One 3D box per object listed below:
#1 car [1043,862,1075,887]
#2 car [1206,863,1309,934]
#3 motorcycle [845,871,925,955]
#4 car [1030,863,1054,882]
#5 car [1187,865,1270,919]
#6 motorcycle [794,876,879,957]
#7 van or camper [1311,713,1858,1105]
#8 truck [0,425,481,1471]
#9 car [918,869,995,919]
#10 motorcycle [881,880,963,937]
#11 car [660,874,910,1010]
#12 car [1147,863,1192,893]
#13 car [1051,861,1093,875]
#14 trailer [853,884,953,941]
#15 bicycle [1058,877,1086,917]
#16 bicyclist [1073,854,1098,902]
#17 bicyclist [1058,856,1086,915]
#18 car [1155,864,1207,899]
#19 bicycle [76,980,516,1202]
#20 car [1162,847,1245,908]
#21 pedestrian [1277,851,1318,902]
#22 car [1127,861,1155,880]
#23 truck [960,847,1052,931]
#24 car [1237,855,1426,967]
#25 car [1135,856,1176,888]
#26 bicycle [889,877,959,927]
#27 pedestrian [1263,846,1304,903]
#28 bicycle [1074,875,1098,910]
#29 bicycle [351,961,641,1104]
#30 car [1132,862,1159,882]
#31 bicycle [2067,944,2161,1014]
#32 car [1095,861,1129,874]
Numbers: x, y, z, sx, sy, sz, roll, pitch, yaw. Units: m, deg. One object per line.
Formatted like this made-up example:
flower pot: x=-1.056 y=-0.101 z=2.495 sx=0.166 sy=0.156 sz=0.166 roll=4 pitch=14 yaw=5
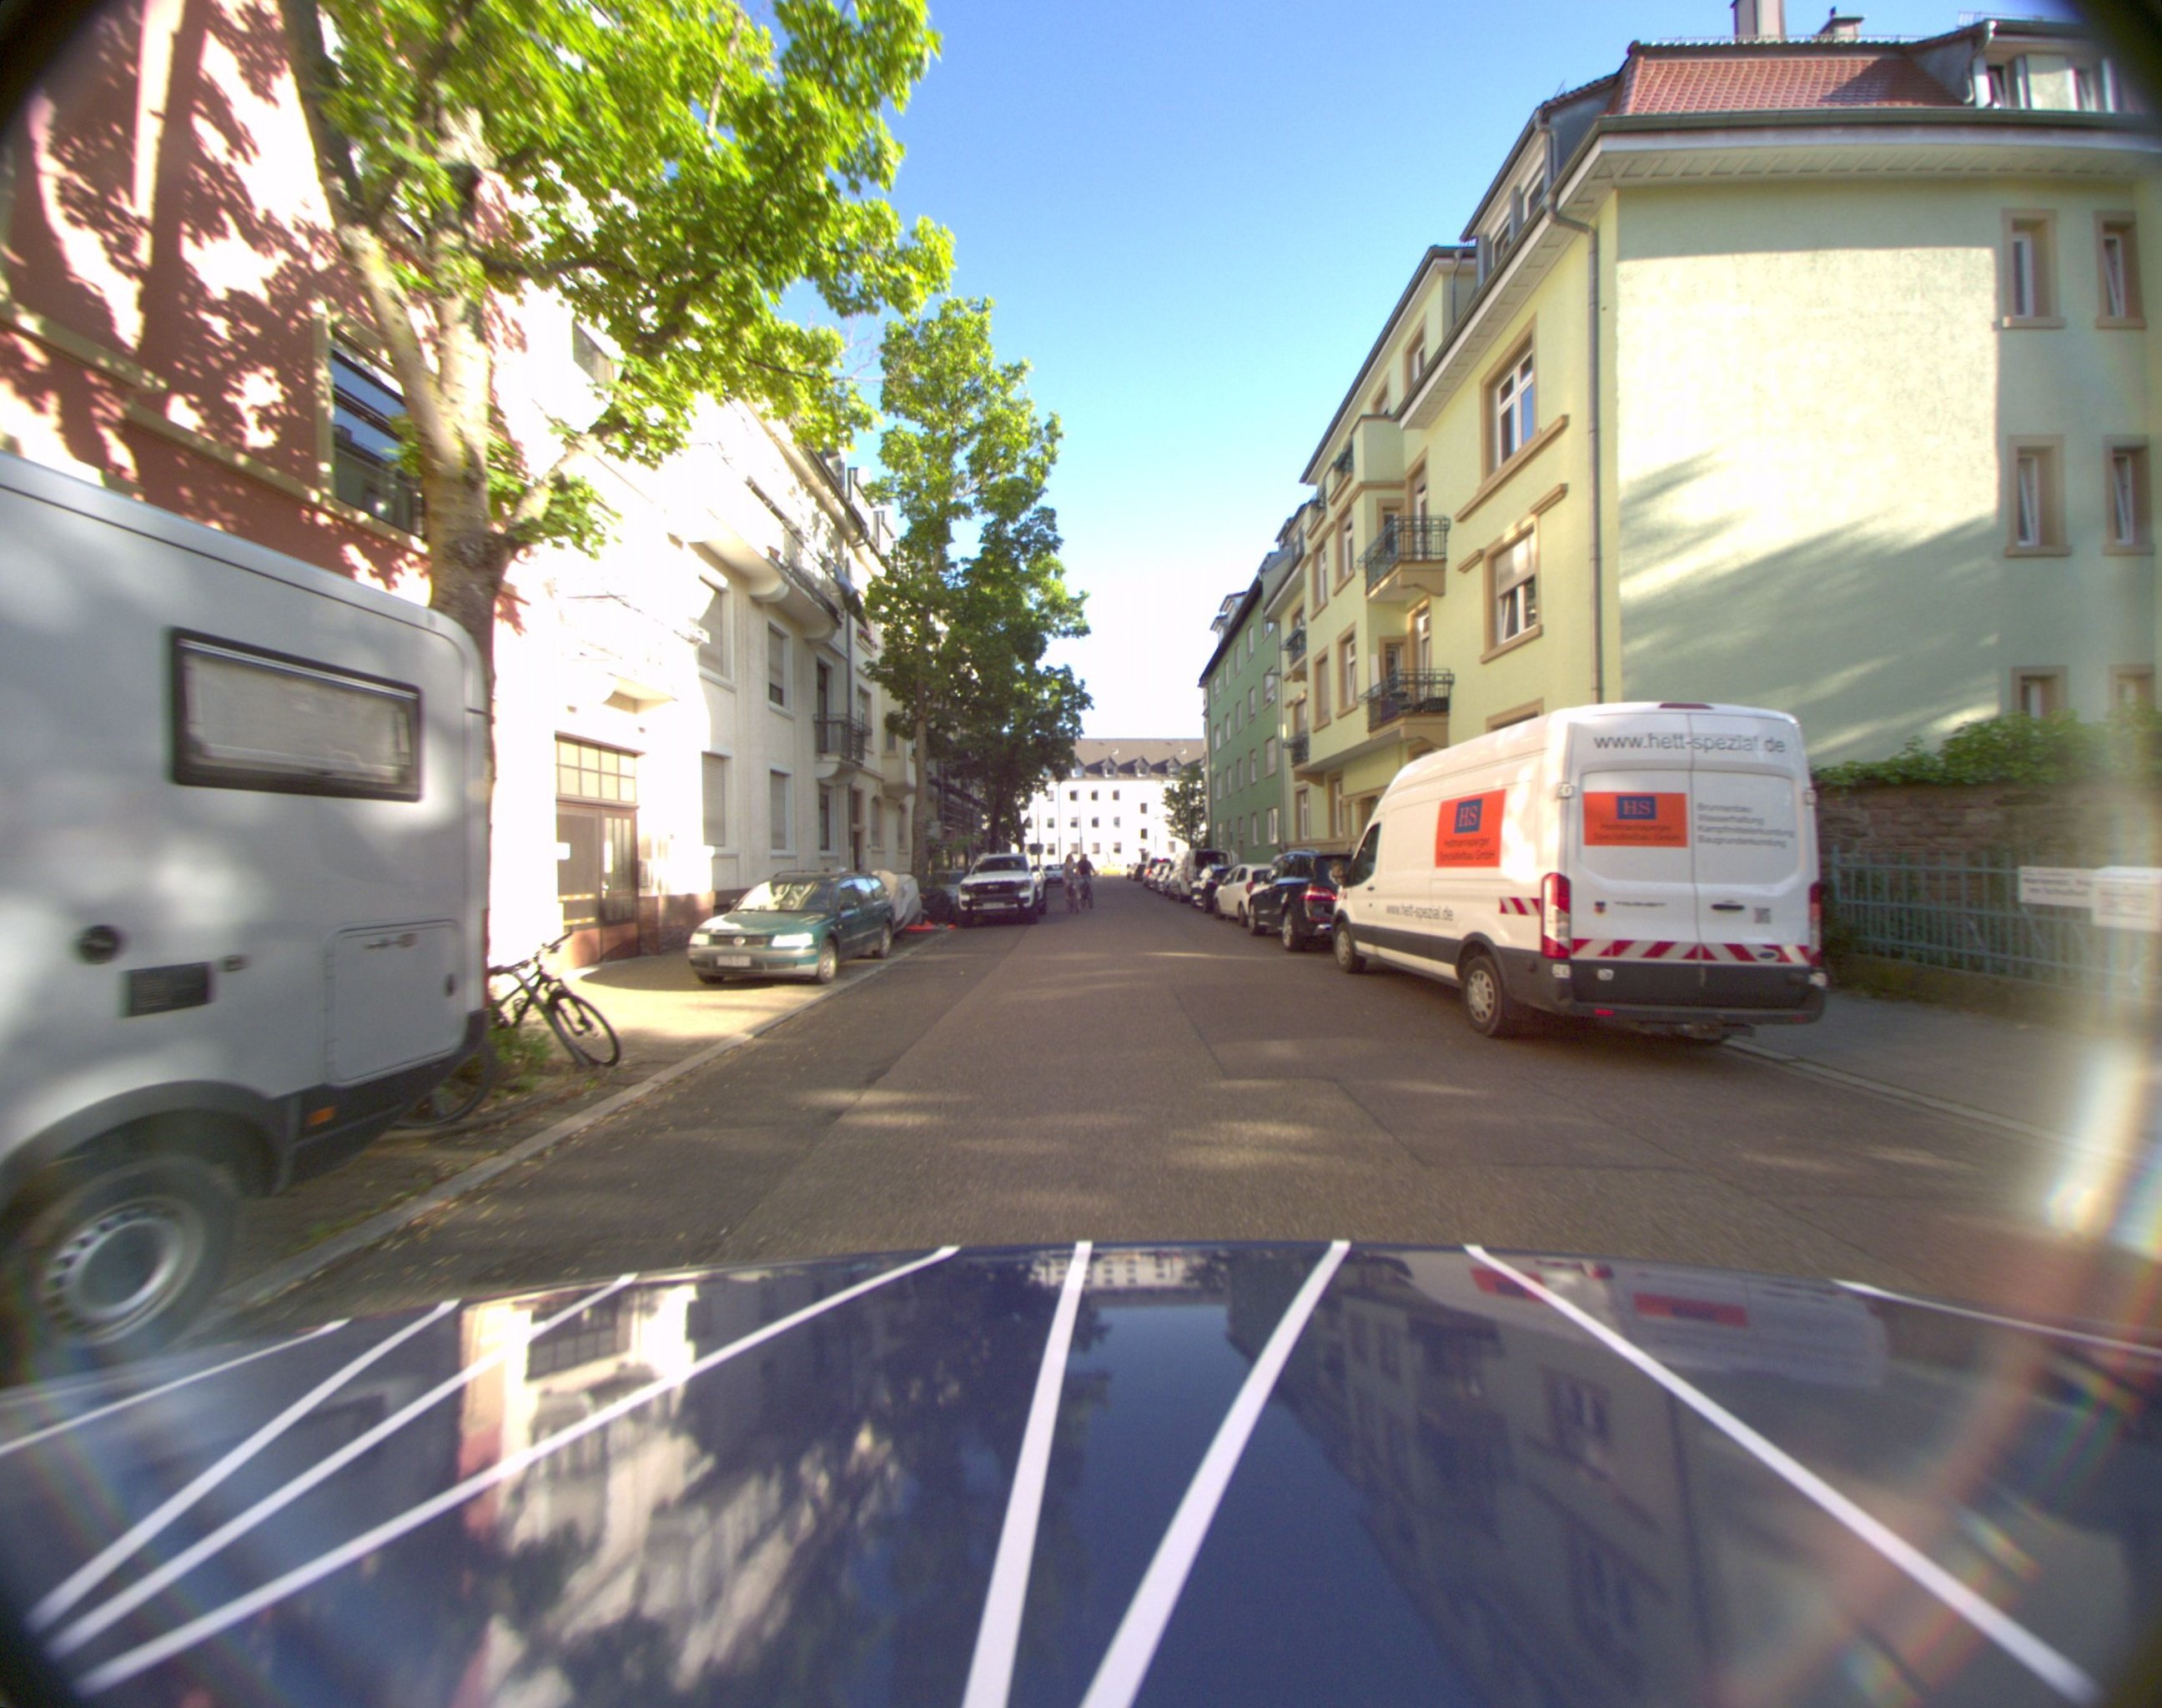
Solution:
car: x=-1.395 y=1.295 z=49.777 sx=1.806 sy=1.526 sz=3.965 roll=-2 pitch=0 yaw=2
car: x=4.317 y=1.029 z=19.175 sx=1.639 sy=1.543 sz=4.088 roll=0 pitch=0 yaw=0
motorcycle: x=-3.834 y=1.114 z=15.067 sx=0.932 sy=1.477 sz=2.138 roll=-2 pitch=0 yaw=2
car: x=-3.203 y=1.508 z=62.953 sx=1.665 sy=1.399 sz=4.507 roll=2 pitch=0 yaw=0
car: x=4.523 y=1.113 z=23.929 sx=1.771 sy=1.512 sz=4.825 roll=0 pitch=0 yaw=1
motorcycle: x=-4.779 y=1.186 z=15.056 sx=0.863 sy=1.407 sz=2.234 roll=-2 pitch=0 yaw=2
van or camper: x=4.461 y=0.409 z=8.329 sx=2.134 sy=2.753 sz=5.852 roll=1 pitch=0 yaw=1
truck: x=-4.083 y=0.244 z=0.744 sx=2.079 sy=2.951 sz=6.109 roll=1 pitch=0 yaw=0
car: x=-3.917 y=1.214 z=24.583 sx=1.684 sy=1.413 sz=4.430 roll=0 pitch=0 yaw=1
motorcycle: x=-3.821 y=1.287 z=18.339 sx=1.768 sy=1.233 sz=0.700 roll=-1 pitch=0 yaw=-38
car: x=-4.090 y=1.118 z=11.496 sx=1.755 sy=1.520 sz=4.782 roll=0 pitch=0 yaw=2
car: x=4.673 y=1.234 z=40.646 sx=1.724 sy=1.453 sz=4.506 roll=1 pitch=0 yaw=-2
car: x=-1.048 y=1.601 z=85.820 sx=4.493 sy=1.498 sz=1.944 roll=-1 pitch=0 yaw=-5
trailer: x=-3.956 y=1.279 z=16.989 sx=2.088 sy=1.105 sz=1.114 roll=-1 pitch=0 yaw=-13
bicycle: x=-0.253 y=1.255 z=22.618 sx=0.707 sy=1.039 sz=1.858 roll=-4 pitch=0 yaw=0
bicyclist: x=0.140 y=0.813 z=25.768 sx=0.757 sy=1.556 sz=0.981 roll=-2 pitch=0 yaw=-1
bicyclist: x=-0.262 y=0.933 z=22.639 sx=0.716 sy=1.679 sz=0.981 roll=-4 pitch=0 yaw=0
car: x=4.604 y=1.231 z=35.622 sx=1.837 sy=1.453 sz=4.363 roll=1 pitch=0 yaw=0
bicycle: x=-4.428 y=1.313 z=4.407 sx=1.707 sy=0.994 sz=0.706 roll=-1 pitch=0 yaw=-5
car: x=4.694 y=0.857 z=29.978 sx=2.257 sy=2.156 sz=5.243 roll=1 pitch=0 yaw=-1
pedestrian: x=7.329 y=0.741 z=25.825 sx=0.995 sy=1.665 sz=1.243 roll=-2 pitch=0 yaw=0
car: x=5.104 y=1.371 z=64.952 sx=1.724 sy=1.546 sz=4.072 roll=1 pitch=0 yaw=-5
truck: x=-1.886 y=0.858 z=20.881 sx=1.833 sy=1.937 sz=5.541 roll=-2 pitch=0 yaw=1
car: x=4.333 y=0.891 z=14.102 sx=1.880 sy=1.675 sz=4.970 roll=1 pitch=0 yaw=0
car: x=4.563 y=1.047 z=47.044 sx=1.776 sy=1.832 sz=4.414 roll=1 pitch=0 yaw=-4
bicycle: x=-4.250 y=1.286 z=20.657 sx=1.763 sy=1.297 sz=0.586 roll=-1 pitch=0 yaw=-1
pedestrian: x=6.767 y=0.671 z=25.502 sx=0.995 sy=1.850 sz=1.243 roll=-2 pitch=0 yaw=0
bicycle: x=0.163 y=1.286 z=25.757 sx=0.741 sy=1.053 sz=1.857 roll=-2 pitch=0 yaw=-1
bicycle: x=-4.434 y=1.347 z=5.825 sx=1.789 sy=0.943 sz=0.579 roll=-1 pitch=0 yaw=3
car: x=5.008 y=1.377 z=59.600 sx=1.770 sy=1.444 sz=4.207 roll=2 pitch=-1 yaw=0
bicycle: x=9.759 y=1.141 z=6.661 sx=0.406 sy=0.537 sz=1.433 roll=-2 pitch=0 yaw=2
car: x=3.502 y=1.528 z=86.356 sx=3.613 sy=1.440 sz=1.553 roll=-1 pitch=1 yaw=-7
